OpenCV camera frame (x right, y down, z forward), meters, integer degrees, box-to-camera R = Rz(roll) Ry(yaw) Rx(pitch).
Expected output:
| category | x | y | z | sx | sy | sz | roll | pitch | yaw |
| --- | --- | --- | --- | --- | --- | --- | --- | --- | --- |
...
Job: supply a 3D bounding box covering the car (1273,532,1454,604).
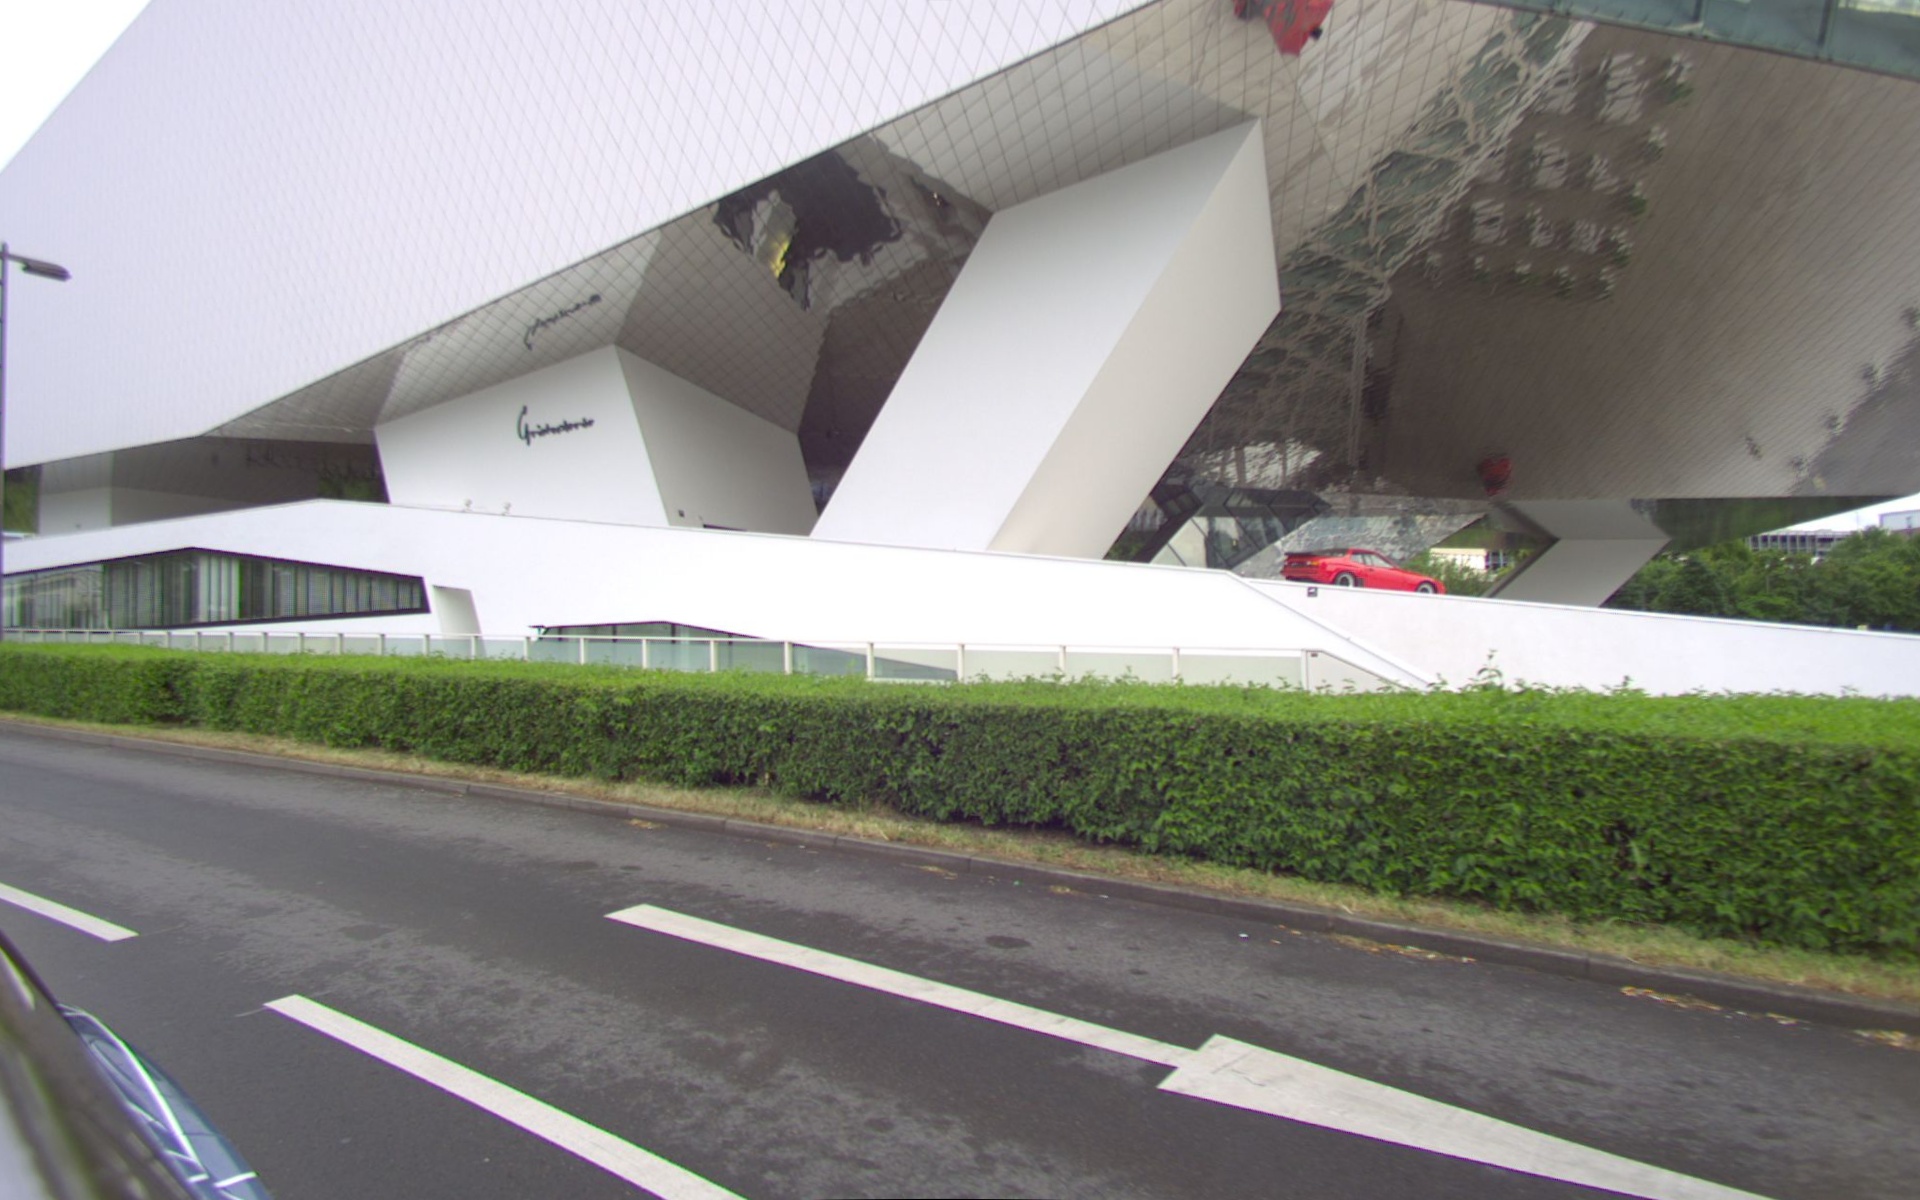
| category | x | y | z | sx | sy | sz | roll | pitch | yaw |
| --- | --- | --- | --- | --- | --- | --- | --- | --- | --- |
| car | 10.322 | -0.771 | 25.954 | 4.033 | 1.252 | 1.642 | 7 | -4 | -14 |
